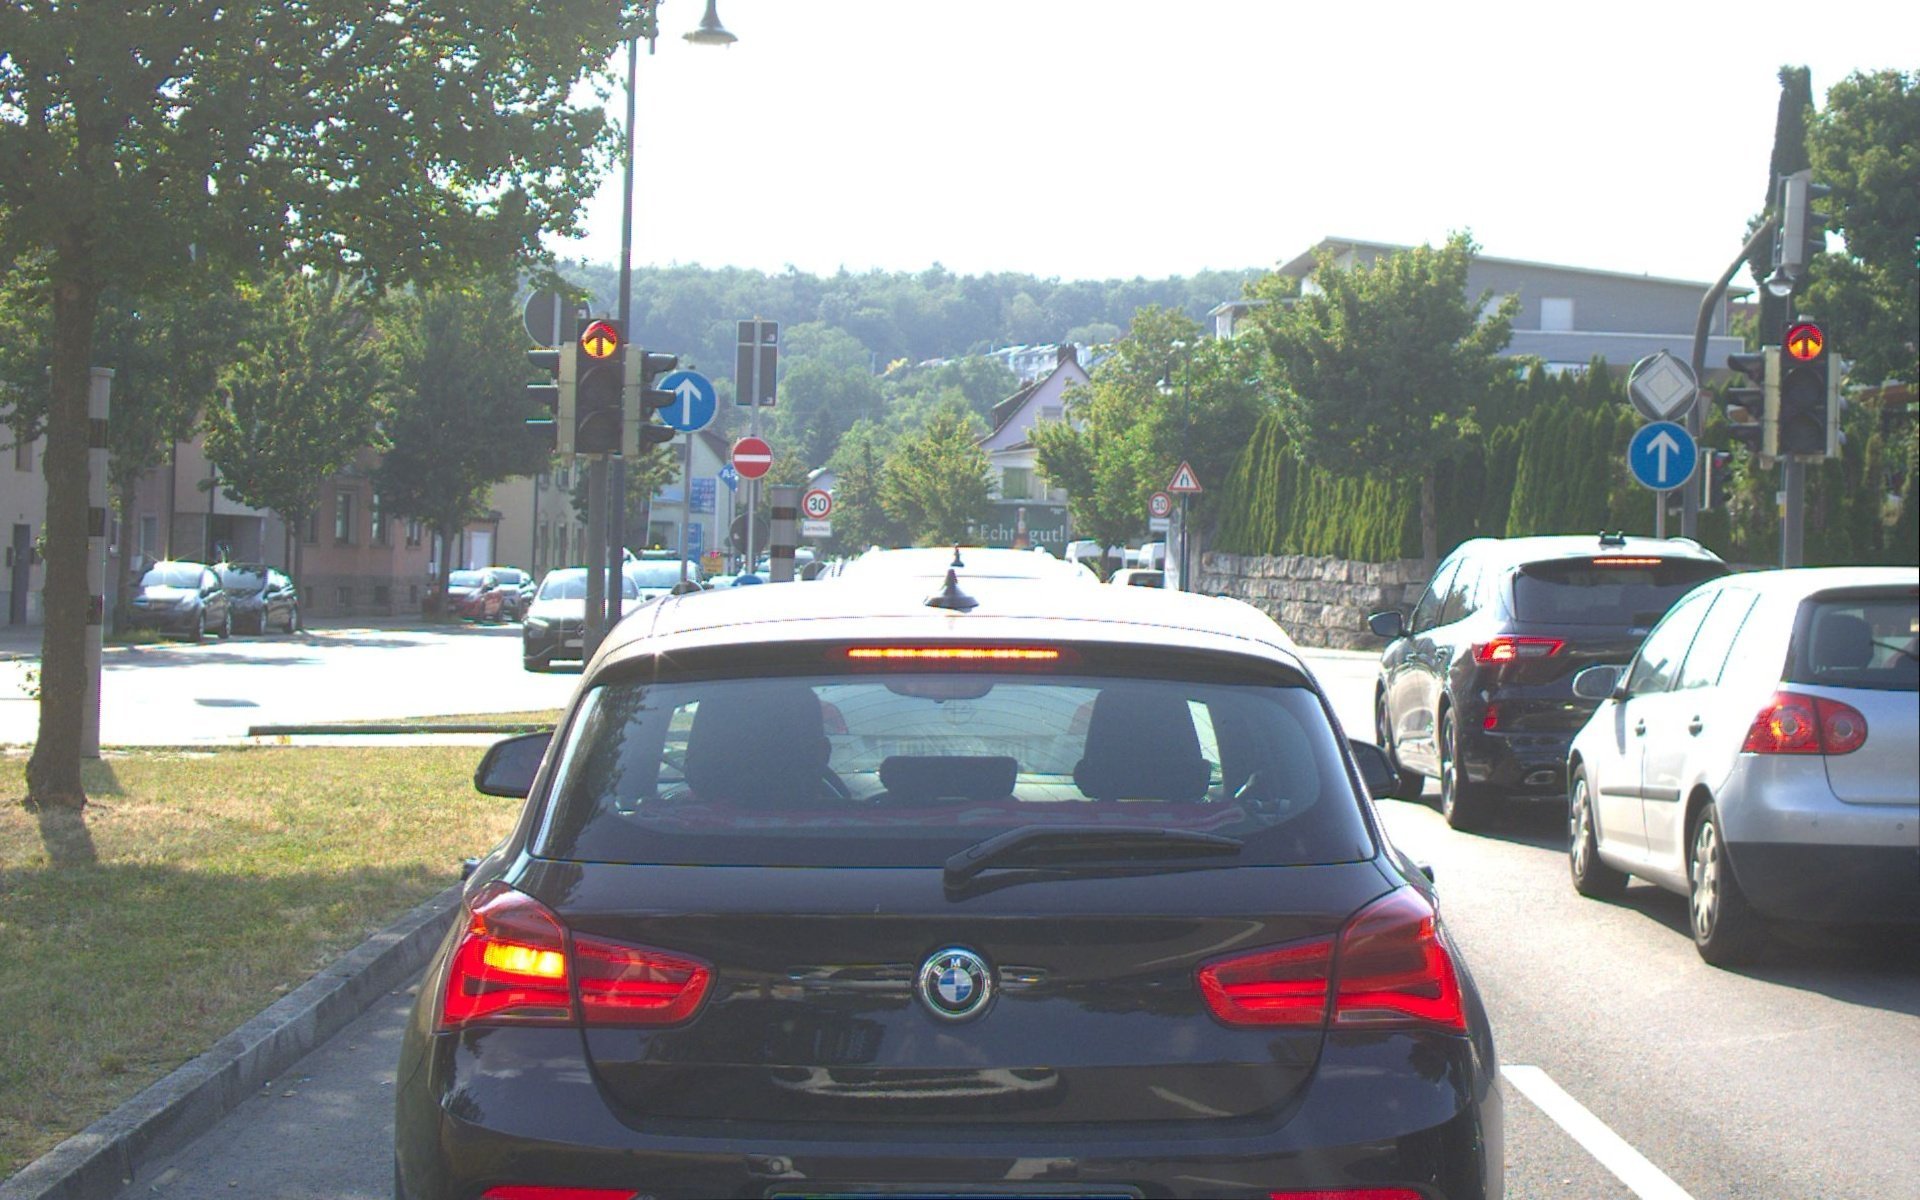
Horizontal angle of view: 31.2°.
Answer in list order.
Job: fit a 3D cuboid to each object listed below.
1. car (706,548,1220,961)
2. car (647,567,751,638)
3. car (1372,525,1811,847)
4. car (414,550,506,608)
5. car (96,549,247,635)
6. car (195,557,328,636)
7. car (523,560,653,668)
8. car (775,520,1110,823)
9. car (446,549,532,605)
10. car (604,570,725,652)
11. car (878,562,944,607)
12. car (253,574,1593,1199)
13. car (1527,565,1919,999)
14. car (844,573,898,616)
[{"bbox_3d":[0.044,0.519,14.378,1.816,1.446,4.242,1,1,1],"label":"car"},{"bbox_3d":[-5.226,0.028,69.236,1.693,1.348,4.000,1,1,1],"label":"car"},{"bbox_3d":[3.553,0.412,20.117,1.816,1.660,4.347,1,1,1],"label":"car"},{"bbox_3d":[-14.129,-0.616,97.312,1.924,1.590,4.000,1,1,1],"label":"car"},{"bbox_3d":[-15.370,-0.181,67.208,1.924,1.590,4.000,1,1,1],"label":"car"},{"bbox_3d":[-14.803,-0.101,73.048,1.924,1.590,4.000,1,1,1],"label":"car"},{"bbox_3d":[-5.350,0.171,49.447,1.766,1.453,4.001,1,1,-6],"label":"car"},{"bbox_3d":[-0.061,0.354,20.911,1.816,1.635,4.242,1,1,1],"label":"car"},{"bbox_3d":[-14.063,-0.703,102.817,1.924,1.590,4.000,1,1,1],"label":"car"},{"bbox_3d":[-5.183,0.166,60.672,1.693,1.348,4.000,1,1,1],"label":"car"},{"bbox_3d":[-1.757,-0.555,120.722,1.861,1.480,4.660,1,1,-6],"label":"car"},{"bbox_3d":[-0.020,0.682,6.788,1.791,1.410,4.347,1,1,1],"label":"car"},{"bbox_3d":[3.521,0.604,13.834,1.816,1.441,4.347,1,1,1],"label":"car"},{"bbox_3d":[-3.682,-0.243,141.946,1.890,1.696,4.525,-1,1,-6],"label":"car"}]
